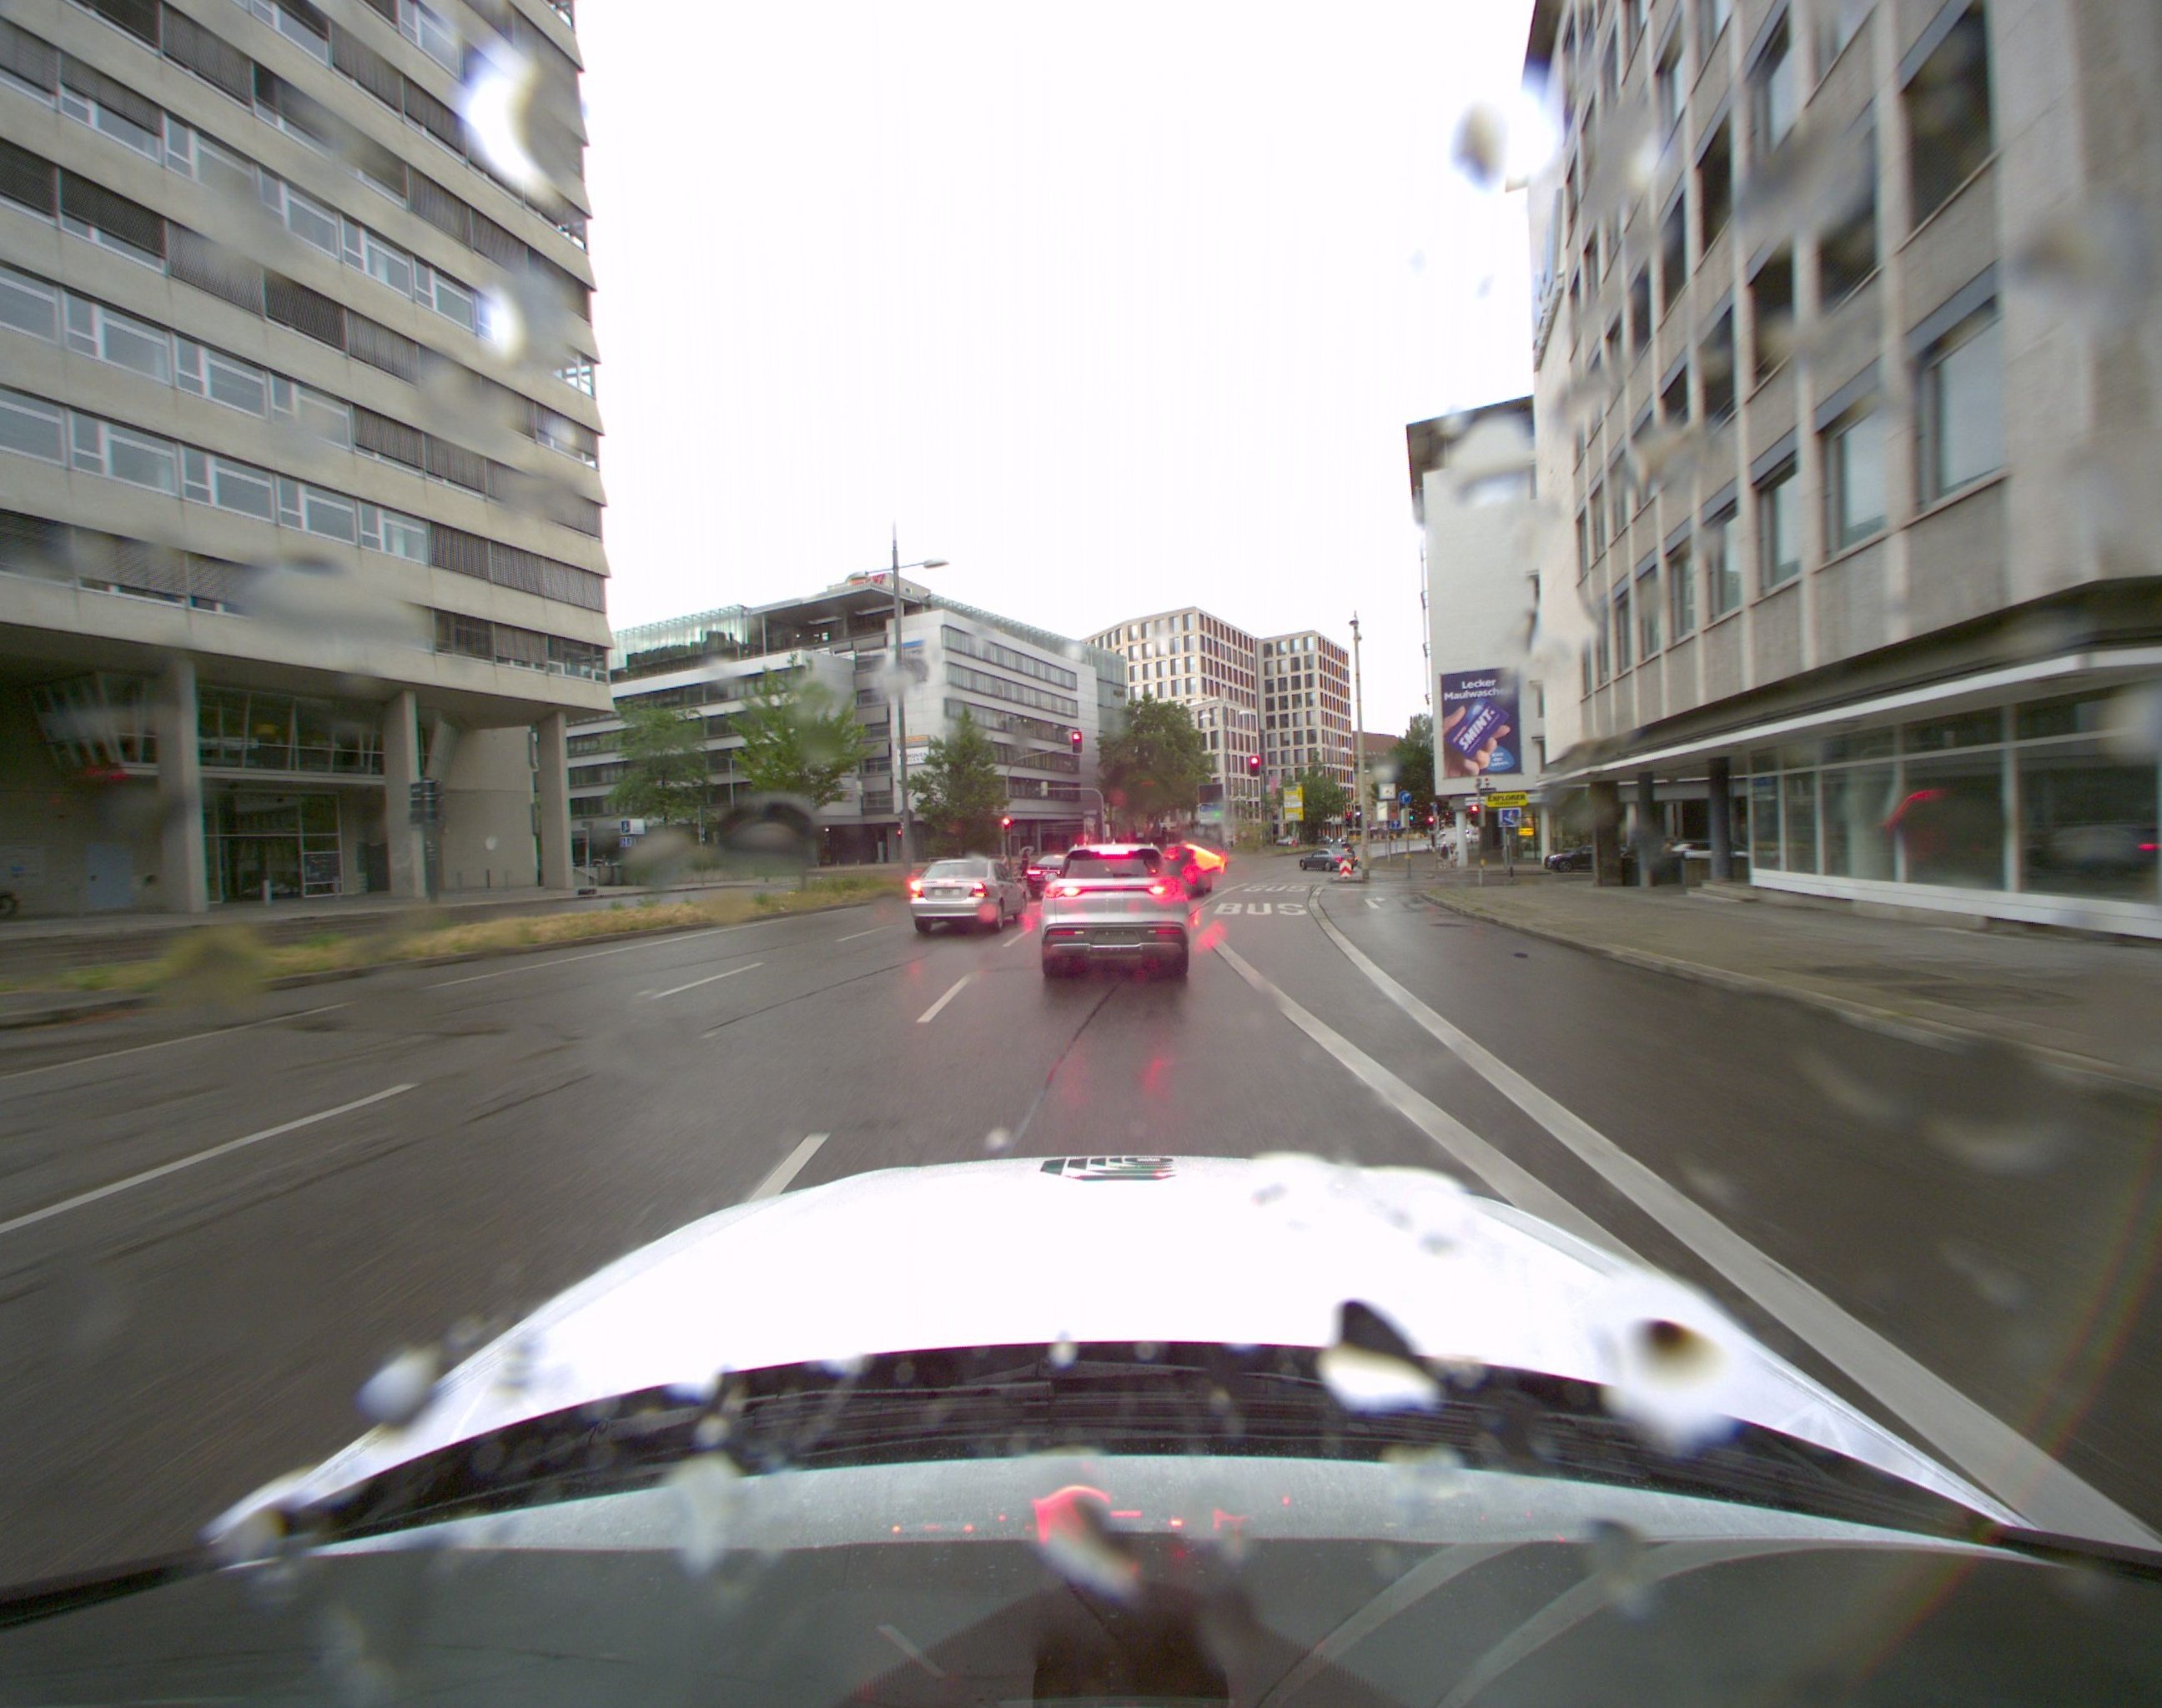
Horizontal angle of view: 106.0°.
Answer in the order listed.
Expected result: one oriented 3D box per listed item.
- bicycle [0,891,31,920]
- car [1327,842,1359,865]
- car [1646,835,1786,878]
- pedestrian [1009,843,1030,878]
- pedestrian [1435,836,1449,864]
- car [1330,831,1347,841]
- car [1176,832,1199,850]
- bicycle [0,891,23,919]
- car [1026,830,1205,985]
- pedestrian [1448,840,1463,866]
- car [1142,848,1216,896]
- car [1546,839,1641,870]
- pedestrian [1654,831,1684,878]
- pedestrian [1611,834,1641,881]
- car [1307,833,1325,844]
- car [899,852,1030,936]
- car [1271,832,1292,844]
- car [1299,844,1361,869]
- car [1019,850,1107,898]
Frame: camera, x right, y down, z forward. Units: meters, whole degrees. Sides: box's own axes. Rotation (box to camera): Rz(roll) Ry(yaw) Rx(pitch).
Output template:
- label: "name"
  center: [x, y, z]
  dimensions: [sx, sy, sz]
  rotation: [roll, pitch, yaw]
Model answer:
- label: "bicycle"
  center: [-32.306, 1.549, 23.880]
  dimensions: [0.450, 0.812, 1.783]
  rotation: [-1, 0, 23]
- label: "car"
  center: [21.486, -0.084, 66.772]
  dimensions: [2.028, 1.765, 4.381]
  rotation: [0, 1, 24]
- label: "car"
  center: [27.802, 0.101, 35.842]
  dimensions: [4.476, 1.750, 2.011]
  rotation: [-1, 1, 23]
- label: "pedestrian"
  center: [-3.110, 0.323, 41.159]
  dimensions: [0.919, 1.738, 0.729]
  rotation: [-2, 0, 0]
- label: "pedestrian"
  center: [21.751, -0.241, 49.055]
  dimensions: [0.721, 1.668, 0.694]
  rotation: [-2, -1, 20]
- label: "car"
  center: [46.616, -3.255, 147.228]
  dimensions: [1.974, 1.705, 4.026]
  rotation: [-1, 2, 32]
- label: "car"
  center: [13.473, -1.610, 102.956]
  dimensions: [1.722, 2.161, 4.518]
  rotation: [0, 0, 23]
- label: "bicycle"
  center: [-32.845, 1.558, 24.106]
  dimensions: [0.450, 0.812, 1.783]
  rotation: [-1, 0, 23]
- label: "car"
  center: [0.460, 0.592, 11.536]
  dimensions: [1.986, 1.709, 4.484]
  rotation: [-2, 0, 2]
- label: "pedestrian"
  center: [22.400, -0.050, 48.730]
  dimensions: [0.721, 1.524, 0.764]
  rotation: [-2, -1, 20]
- label: "car"
  center: [3.532, 0.580, 28.841]
  dimensions: [1.940, 1.530, 4.017]
  rotation: [-1, 0, 16]
- label: "car"
  center: [26.760, -0.009, 42.645]
  dimensions: [3.951, 1.552, 2.011]
  rotation: [0, 1, 23]
- label: "pedestrian"
  center: [22.958, 0.028, 31.804]
  dimensions: [0.721, 1.798, 0.743]
  rotation: [-2, 0, 20]
- label: "pedestrian"
  center: [21.357, 0.128, 31.942]
  dimensions: [0.806, 1.798, 0.714]
  rotation: [-2, 0, 20]
- label: "car"
  center: [42.880, -2.836, 148.740]
  dimensions: [1.974, 1.705, 4.337]
  rotation: [-1, 2, 32]
- label: "car"
  center: [-2.283, 0.734, 17.094]
  dimensions: [1.673, 1.486, 4.204]
  rotation: [-2, 0, 6]
- label: "car"
  center: [32.233, -2.547, 130.723]
  dimensions: [1.974, 1.705, 4.337]
  rotation: [-1, 2, 32]
- label: "car"
  center: [15.954, 0.109, 52.468]
  dimensions: [1.913, 1.510, 4.336]
  rotation: [-1, 1, -14]
- label: "car"
  center: [-0.558, 0.645, 28.662]
  dimensions: [1.940, 1.530, 4.017]
  rotation: [-1, 0, 16]
